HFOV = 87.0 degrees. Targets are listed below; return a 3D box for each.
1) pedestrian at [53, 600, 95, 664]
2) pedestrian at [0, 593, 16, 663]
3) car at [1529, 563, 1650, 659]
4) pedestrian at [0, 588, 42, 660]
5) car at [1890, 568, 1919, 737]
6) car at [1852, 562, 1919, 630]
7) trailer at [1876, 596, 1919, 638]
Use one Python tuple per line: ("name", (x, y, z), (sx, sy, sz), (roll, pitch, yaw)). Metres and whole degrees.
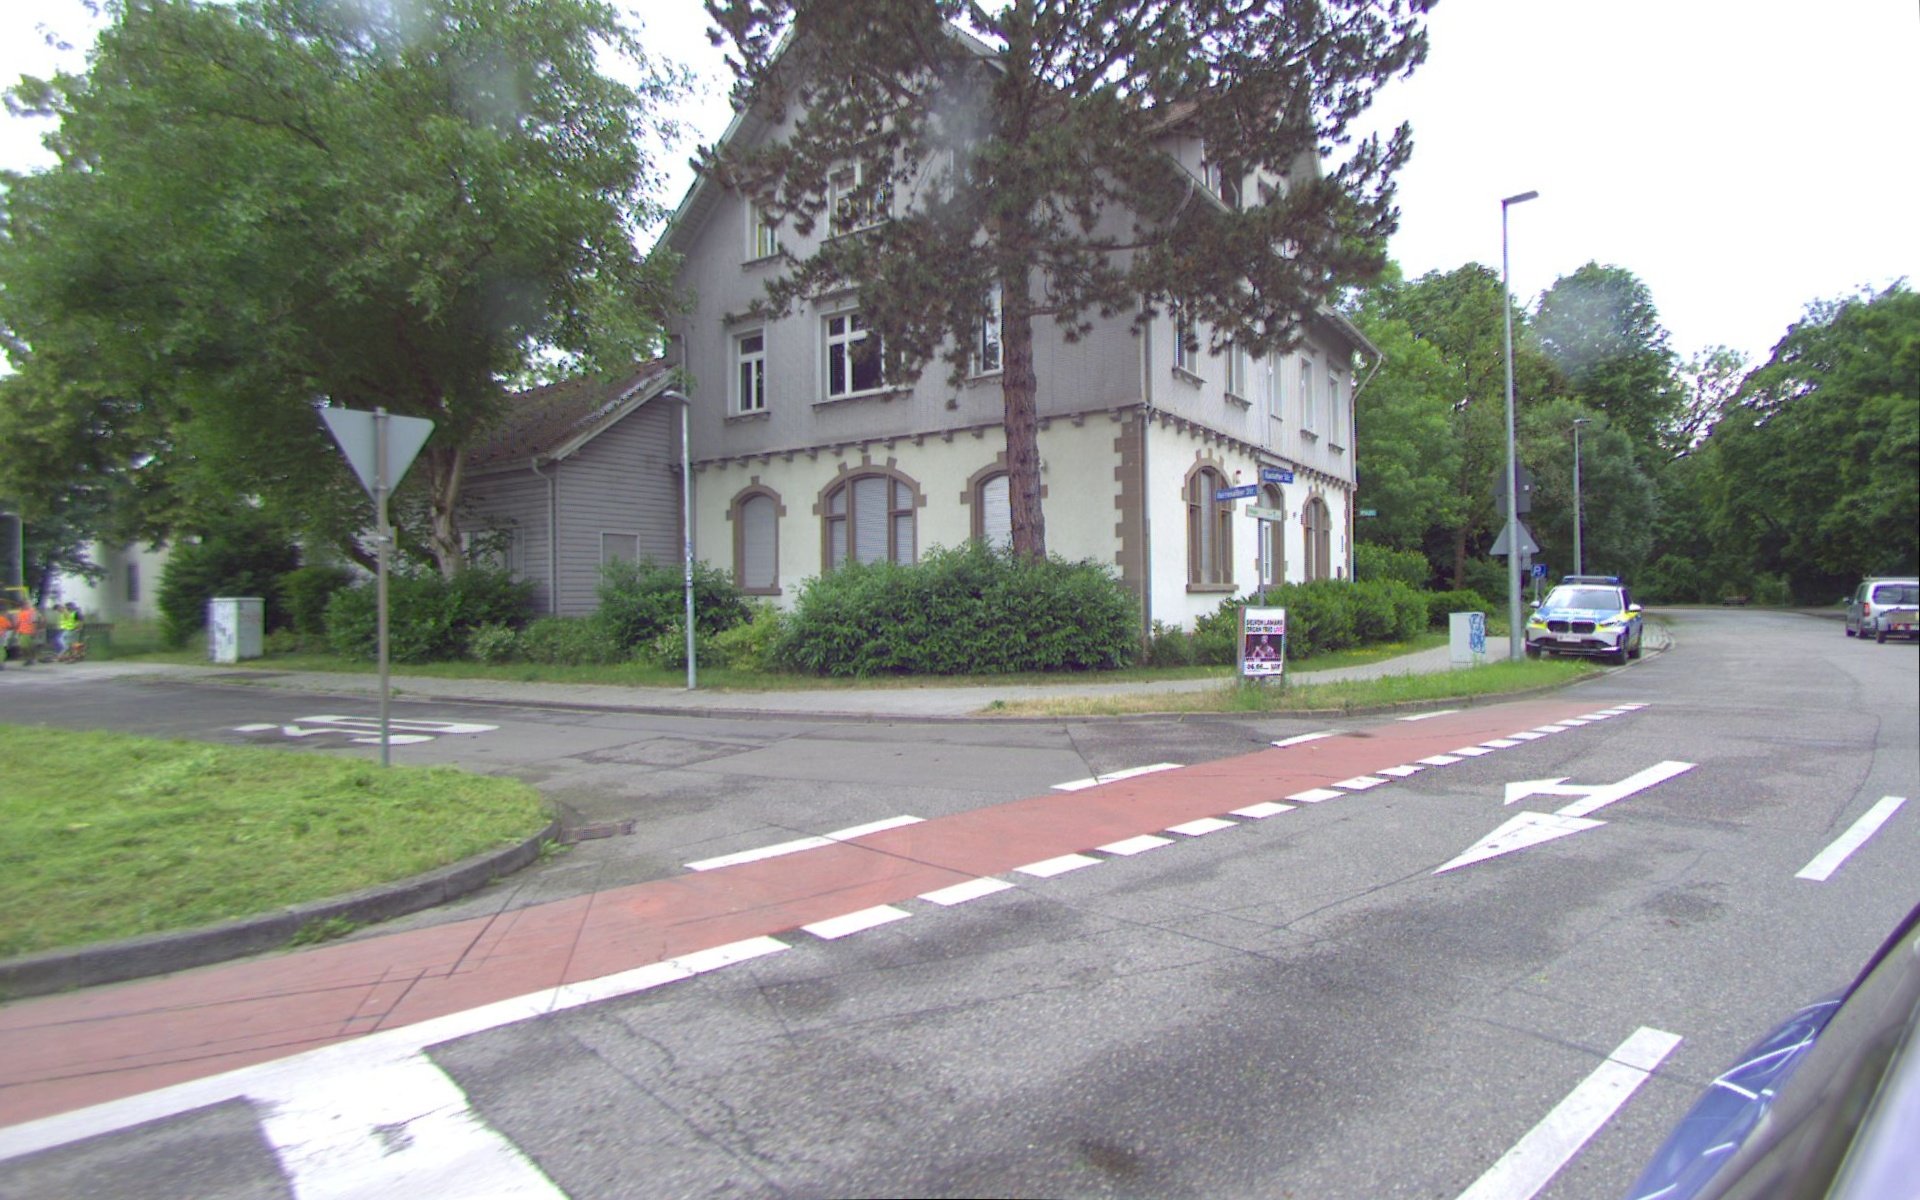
("pedestrian", (-26.303, 0.948, 30.054), (0.700, 1.863, 0.608), (-1, 0, 4))
("pedestrian", (-25.027, 0.729, 26.251), (0.570, 1.784, 0.630), (-1, 0, 29))
("car", (13.688, 0.166, 21.915), (1.925, 1.873, 3.948), (2, 2, 36))
("pedestrian", (-24.858, 0.624, 26.727), (0.858, 1.878, 0.679), (0, -1, -39))
("car", (10.620, 0.417, 8.307), (4.450, 1.475, 1.805), (-1, 0, -4))
("car", (28.179, -0.158, 30.003), (2.081, 1.881, 4.168), (-2, 0, 35))
("trailer", (25.811, 0.431, 27.066), (1.562, 0.998, 3.420), (-1, 1, 36))
